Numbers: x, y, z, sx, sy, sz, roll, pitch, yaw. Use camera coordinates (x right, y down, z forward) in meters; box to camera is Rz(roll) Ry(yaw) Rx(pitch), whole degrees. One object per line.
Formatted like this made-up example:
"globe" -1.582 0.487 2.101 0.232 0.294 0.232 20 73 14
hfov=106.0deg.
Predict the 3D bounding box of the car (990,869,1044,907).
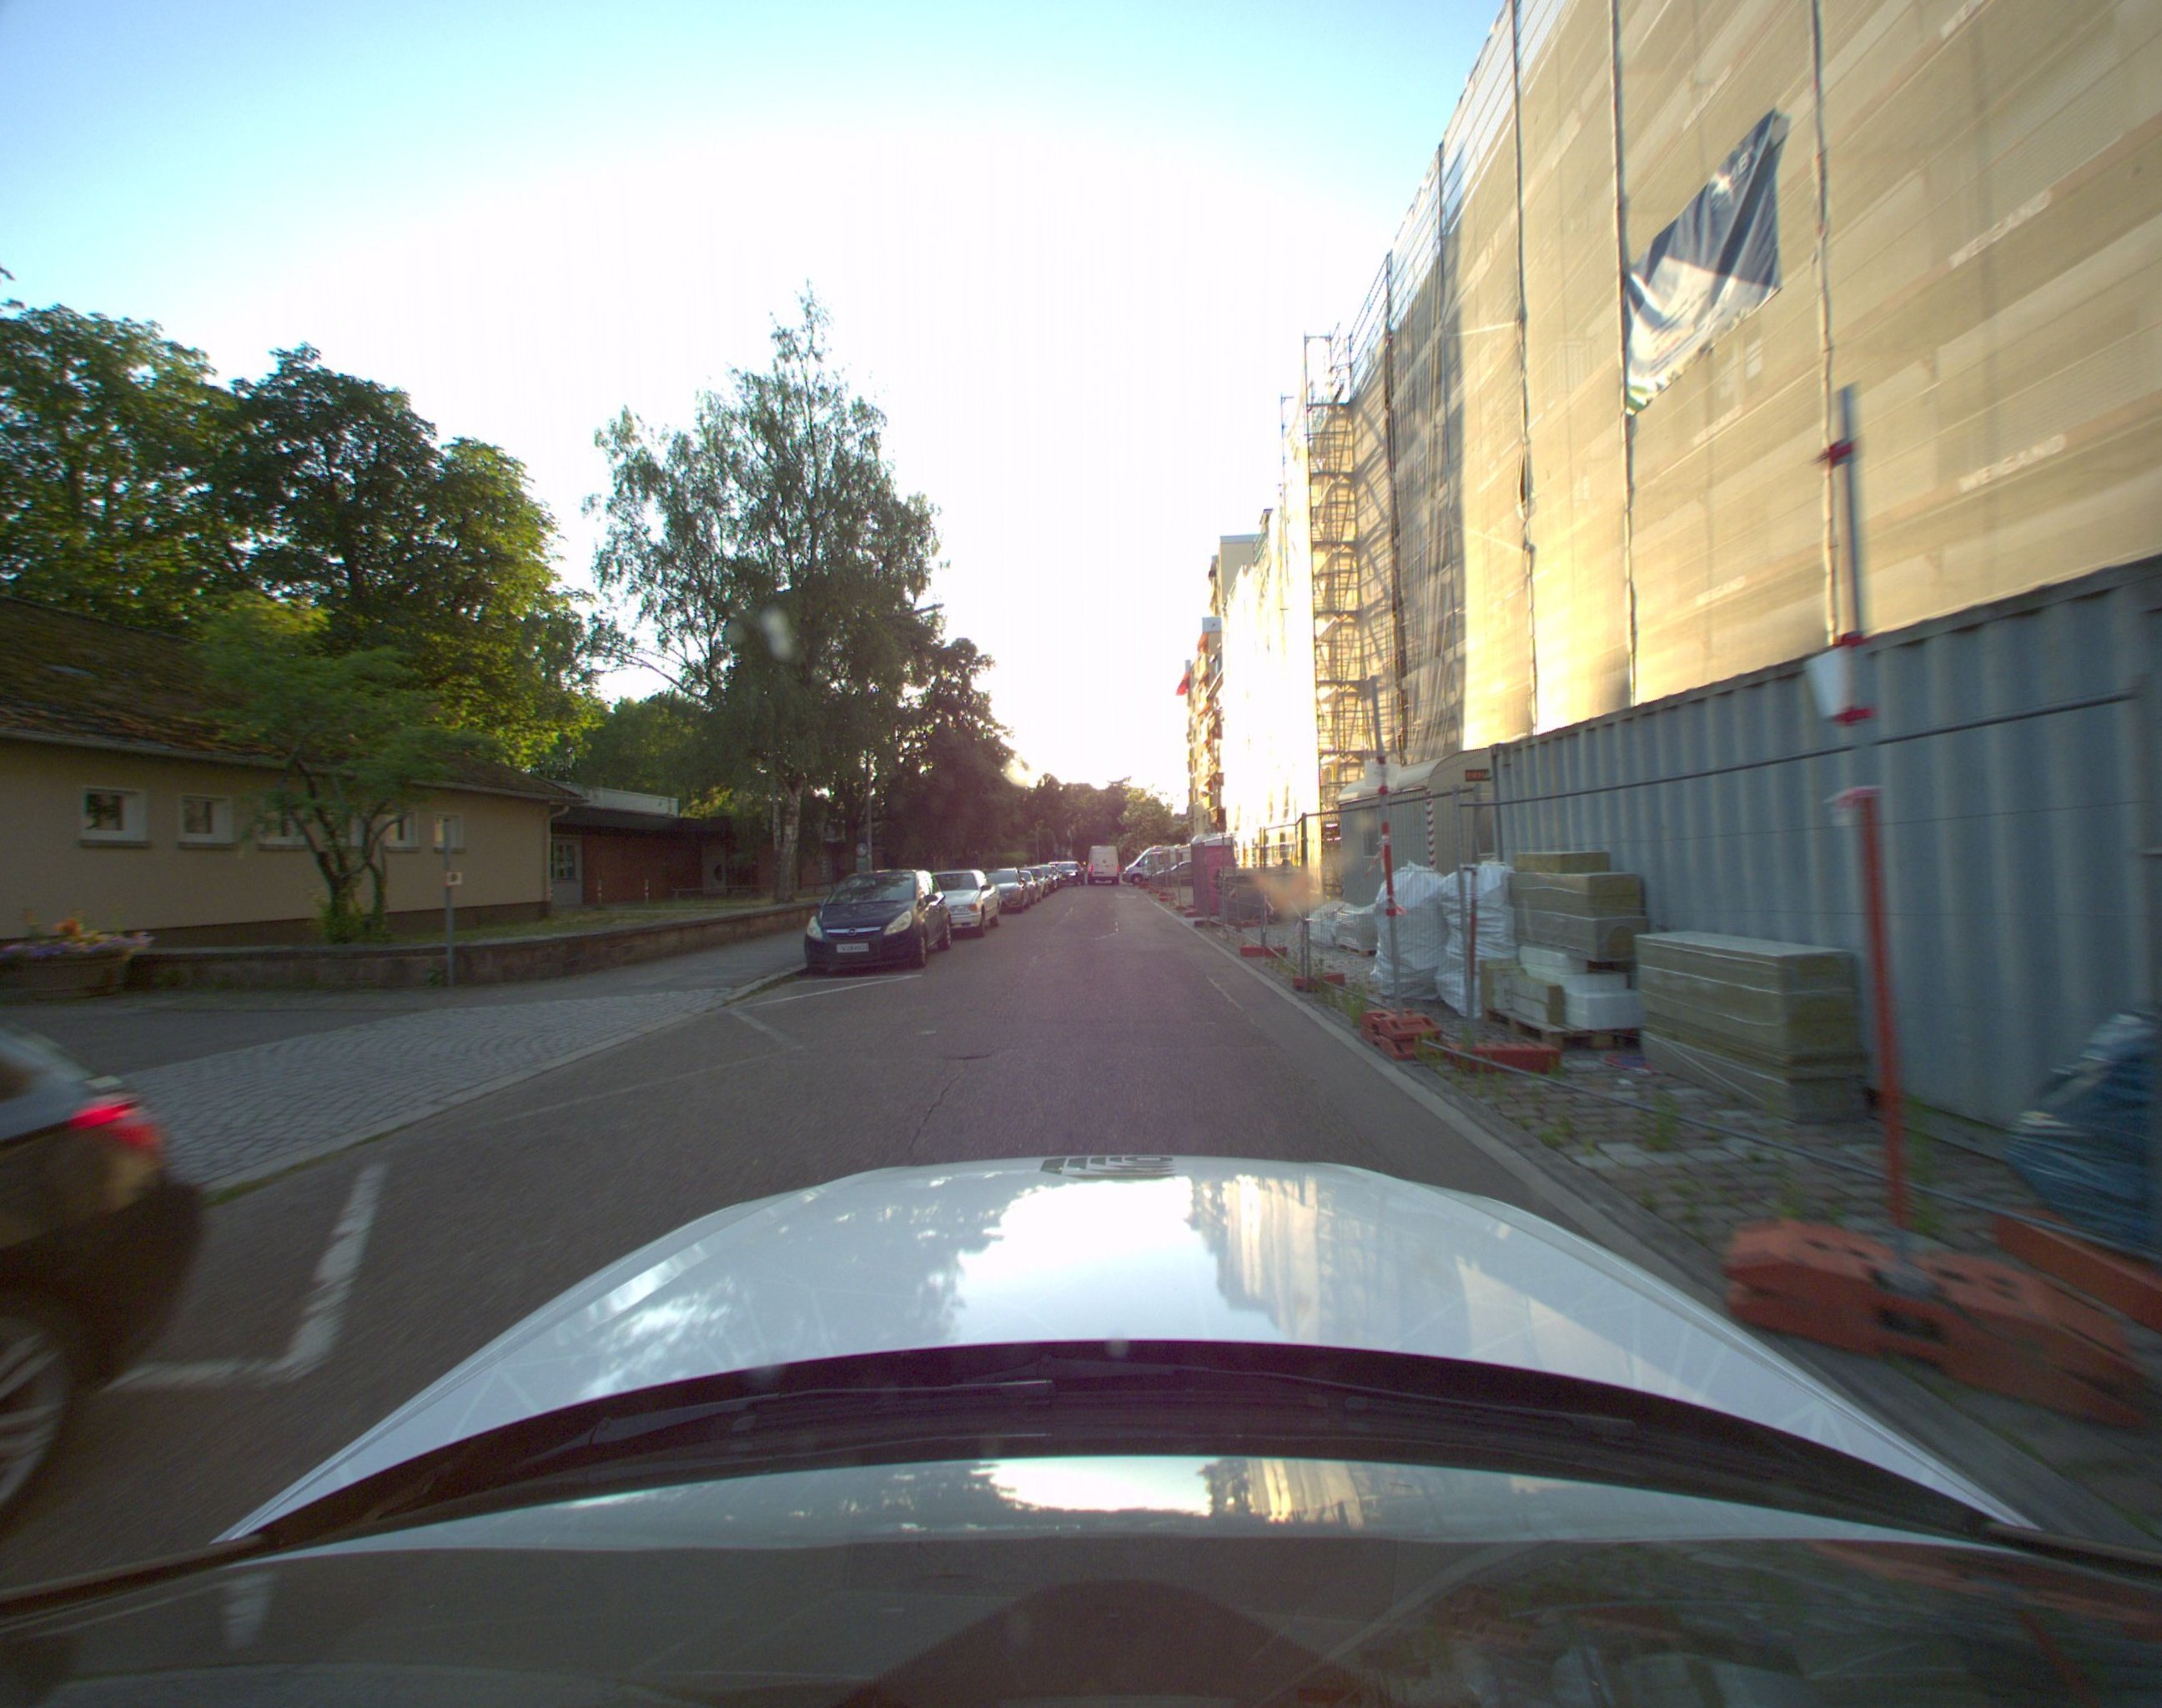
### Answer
"car" -2.470 1.296 32.356 1.653 1.313 4.156 -3 -1 2

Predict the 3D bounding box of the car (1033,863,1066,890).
"car" -1.888 1.341 49.677 1.630 1.478 3.994 -3 -1 2

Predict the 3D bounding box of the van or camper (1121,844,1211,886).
"van or camper" 5.720 0.765 55.326 5.909 2.770 2.109 0 -1 0

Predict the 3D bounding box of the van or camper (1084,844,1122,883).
"van or camper" 1.552 0.692 56.838 2.444 2.547 6.085 1 -1 2

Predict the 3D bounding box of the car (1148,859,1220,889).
"car" 6.224 1.224 49.664 3.978 1.515 2.017 -4 -1 -4

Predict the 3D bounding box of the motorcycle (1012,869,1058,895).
"motorcycle" -2.350 1.405 41.331 2.148 1.304 0.883 -1 -1 15

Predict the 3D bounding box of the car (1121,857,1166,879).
"car" 6.440 1.436 84.335 4.480 2.231 2.032 0 -1 0

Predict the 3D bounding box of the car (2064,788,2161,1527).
"car" 4.370 0.610 0.912 4.136 1.615 1.873 -1 -1 2

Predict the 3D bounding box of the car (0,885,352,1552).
"car" -3.438 0.818 0.520 1.986 1.453 4.289 -1 -1 2

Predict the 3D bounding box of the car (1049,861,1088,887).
"car" -0.810 1.320 54.456 1.794 1.569 4.576 -2 -1 9

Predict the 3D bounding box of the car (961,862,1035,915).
"car" -2.652 1.090 27.073 1.853 1.538 4.759 -2 -1 1

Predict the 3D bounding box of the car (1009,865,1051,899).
"car" -2.341 1.278 38.116 1.596 1.431 3.803 -4 -1 0

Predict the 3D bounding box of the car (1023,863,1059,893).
"car" -2.133 1.287 44.525 1.710 1.496 4.360 -3 -1 0

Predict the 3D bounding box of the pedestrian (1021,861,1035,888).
"pedestrian" -3.656 1.381 56.048 0.935 1.830 0.786 0 -1 0

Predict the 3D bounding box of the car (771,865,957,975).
"car" -3.272 0.928 13.144 1.988 1.453 3.997 -1 -1 -2

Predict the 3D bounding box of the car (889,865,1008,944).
"car" -2.845 1.036 18.555 1.776 1.445 4.748 -4 -1 1
